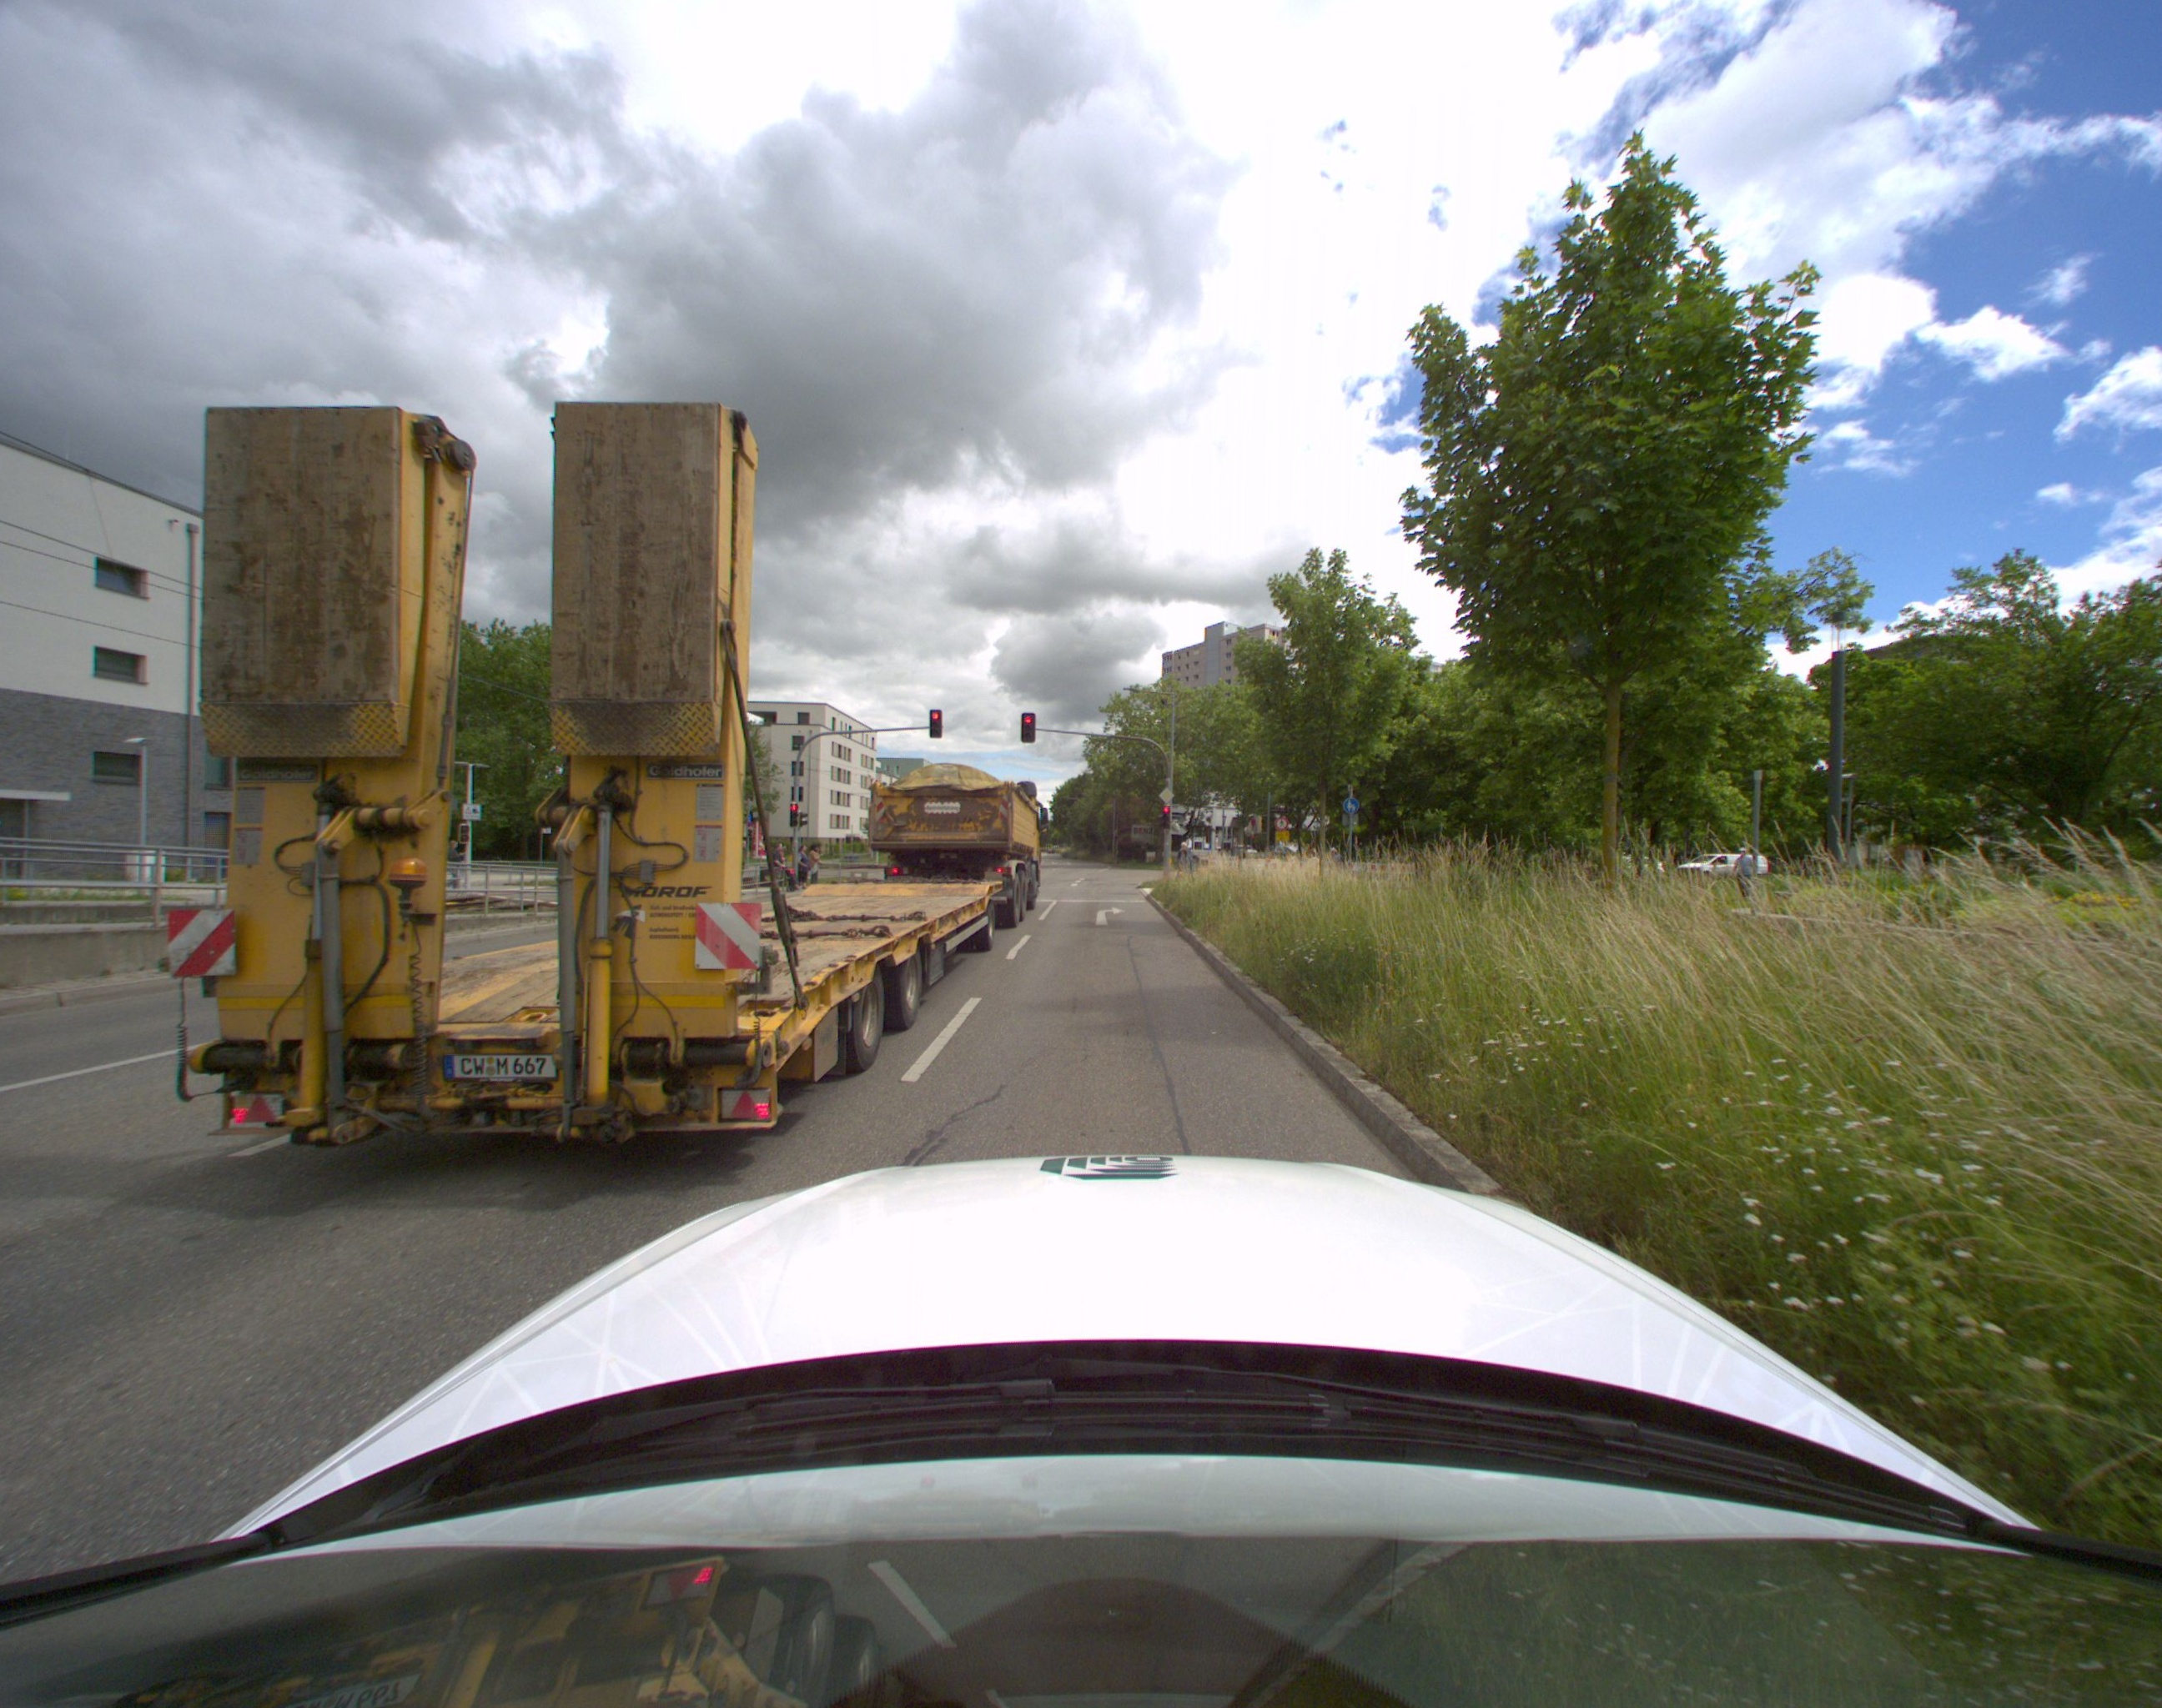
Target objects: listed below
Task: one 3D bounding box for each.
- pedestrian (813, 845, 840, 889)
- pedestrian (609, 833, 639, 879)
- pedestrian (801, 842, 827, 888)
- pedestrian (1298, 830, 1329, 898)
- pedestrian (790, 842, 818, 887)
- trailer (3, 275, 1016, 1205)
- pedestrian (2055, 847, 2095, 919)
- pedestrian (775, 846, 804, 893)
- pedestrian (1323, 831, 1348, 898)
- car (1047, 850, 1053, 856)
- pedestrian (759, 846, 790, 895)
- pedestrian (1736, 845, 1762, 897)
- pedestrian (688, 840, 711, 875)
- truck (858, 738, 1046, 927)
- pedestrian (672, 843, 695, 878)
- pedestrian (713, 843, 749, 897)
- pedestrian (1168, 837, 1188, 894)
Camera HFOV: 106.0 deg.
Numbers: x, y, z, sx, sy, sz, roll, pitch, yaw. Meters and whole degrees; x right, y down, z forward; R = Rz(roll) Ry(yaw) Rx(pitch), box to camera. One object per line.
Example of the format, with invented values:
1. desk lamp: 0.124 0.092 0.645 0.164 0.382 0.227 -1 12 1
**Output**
1. pedestrian: -9.874 0.487 31.614 0.832 1.670 0.936 1 0 -11
2. pedestrian: -22.400 0.095 39.948 0.912 2.205 0.882 1 0 1
3. pedestrian: -10.015 0.406 30.545 0.679 1.670 0.823 1 0 0
4. pedestrian: 6.988 0.309 24.473 0.671 2.014 0.633 1 -1 -8
5. pedestrian: -9.990 0.372 29.413 0.679 1.602 0.823 1 0 0
6. trailer: -2.664 -0.468 8.782 2.719 3.558 11.256 1 0 1
7. pedestrian: 27.344 0.800 22.408 0.573 1.951 0.406 1 0 1
8. pedestrian: -10.034 0.531 28.028 0.679 1.602 0.823 1 0 0
9. pedestrian: 7.806 0.321 24.985 0.561 2.014 0.490 1 -1 -8
10. car: -8.908 -0.284 231.387 1.686 1.925 3.995 1 0 -3
11. pedestrian: -10.080 0.535 26.837 0.679 1.602 0.823 1 0 0
12. pedestrian: 22.901 0.570 27.933 0.490 1.743 0.571 1 0 -35
13. pedestrian: -23.704 0.191 50.591 0.912 2.133 0.935 1 0 1
14. truck: -2.464 -0.395 18.587 2.744 3.313 8.353 1 0 1
15. pedestrian: -24.756 0.388 50.747 0.912 2.133 0.935 1 0 1
16. pedestrian: -11.056 0.502 25.736 0.817 1.668 0.684 1 0 2
17. pedestrian: 3.437 0.398 28.914 0.561 2.014 0.490 1 -1 -8
